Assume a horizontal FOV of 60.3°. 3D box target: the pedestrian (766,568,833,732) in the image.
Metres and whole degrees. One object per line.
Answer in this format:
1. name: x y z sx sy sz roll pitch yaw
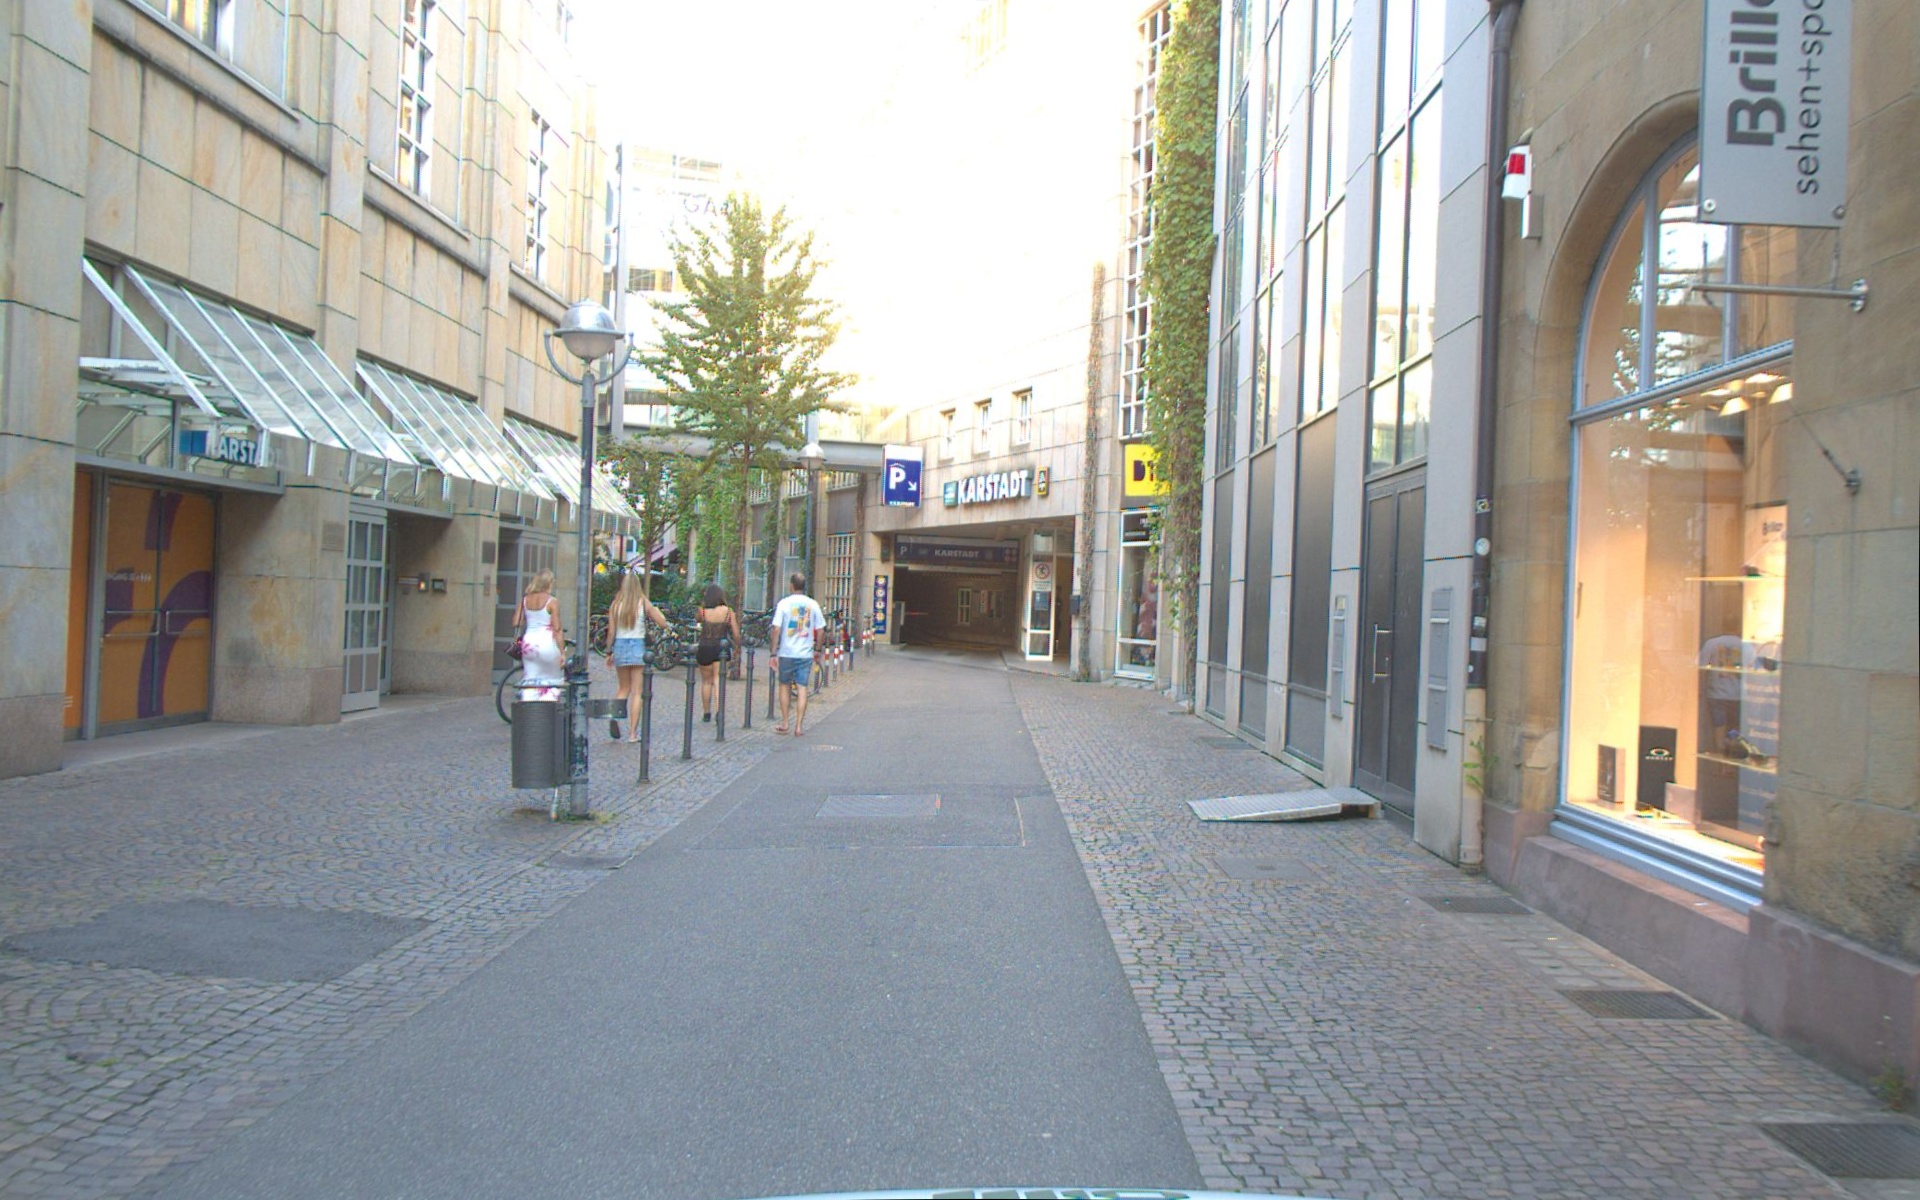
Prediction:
1. pedestrian: -1.875 0.571 19.371 0.728 1.854 0.877 1 0 -6

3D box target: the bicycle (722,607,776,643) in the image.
1. bicycle: -6.420 0.753 50.347 1.517 1.067 0.572 1 0 -21

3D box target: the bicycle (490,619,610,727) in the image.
1. bicycle: -4.718 0.814 19.139 0.510 1.158 1.765 1 0 16

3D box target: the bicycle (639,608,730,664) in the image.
1. bicycle: -5.753 0.751 34.562 1.811 1.142 0.530 1 0 -23

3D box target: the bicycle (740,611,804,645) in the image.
1. bicycle: -5.350 0.798 47.030 1.747 0.920 0.461 1 0 -21

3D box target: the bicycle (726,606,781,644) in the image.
1. bicycle: -6.115 0.737 48.953 1.517 1.067 0.572 1 0 -21

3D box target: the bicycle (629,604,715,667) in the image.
1. bicycle: -5.864 0.718 33.669 1.631 1.252 0.530 1 0 -23

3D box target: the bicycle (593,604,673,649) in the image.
1. bicycle: -8.002 0.658 40.491 1.851 1.061 0.530 1 0 -23

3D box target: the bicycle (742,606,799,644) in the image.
1. bicycle: -5.494 0.731 47.979 1.517 1.067 0.572 1 0 -21

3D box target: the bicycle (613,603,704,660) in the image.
1. bicycle: -6.469 0.674 35.512 1.846 1.198 0.530 1 0 -23

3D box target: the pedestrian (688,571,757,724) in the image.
1. pedestrian: -2.914 0.569 20.391 0.770 1.826 0.971 1 0 -7

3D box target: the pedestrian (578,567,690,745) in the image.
1. pedestrian: -3.358 0.563 17.118 0.789 1.760 0.949 2 0 10

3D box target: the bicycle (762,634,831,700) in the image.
1. bicycle: -2.555 1.039 25.964 0.482 0.955 1.660 3 0 15

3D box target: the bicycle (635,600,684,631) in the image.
1. bicycle: -11.425 0.585 62.829 1.746 1.134 0.540 1 0 -18

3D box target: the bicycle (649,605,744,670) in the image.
1. bicycle: -5.160 0.738 32.395 1.742 1.252 0.530 1 0 -23

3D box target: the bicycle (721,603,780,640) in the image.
1. bicycle: -6.518 0.668 51.521 1.747 1.134 0.539 1 0 -21

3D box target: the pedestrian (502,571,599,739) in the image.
1. pedestrian: -4.278 0.562 17.329 0.660 1.693 0.861 2 0 8

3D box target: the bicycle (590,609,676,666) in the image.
1. bicycle: -7.257 0.838 36.710 1.808 1.246 0.530 1 0 -23

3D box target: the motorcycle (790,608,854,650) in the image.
1. motorcycle: -3.708 0.783 44.563 1.639 1.069 0.461 1 0 -21

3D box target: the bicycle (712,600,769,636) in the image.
1. bicycle: -7.135 0.598 53.793 1.747 1.134 0.539 1 0 -21

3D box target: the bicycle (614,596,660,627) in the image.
1. bicycle: -13.280 0.469 68.011 1.747 1.211 0.583 1 0 -21

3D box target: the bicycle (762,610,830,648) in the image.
1. bicycle: -4.567 0.810 46.183 1.821 0.999 0.461 1 0 -21

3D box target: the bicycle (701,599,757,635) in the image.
1. bicycle: -7.670 0.569 54.821 1.747 1.134 0.539 1 0 -21

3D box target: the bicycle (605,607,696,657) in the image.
1. bicycle: -6.745 0.700 36.040 1.868 1.070 0.530 1 0 -23

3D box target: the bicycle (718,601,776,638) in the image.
1. bicycle: -6.777 0.621 52.593 1.747 1.134 0.539 1 0 -21

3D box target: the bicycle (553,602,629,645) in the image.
1. bicycle: -9.421 0.610 42.240 1.799 1.061 0.530 1 0 -23

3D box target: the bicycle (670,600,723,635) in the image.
1. bicycle: -9.093 0.604 57.068 1.747 1.134 0.539 1 0 -21
